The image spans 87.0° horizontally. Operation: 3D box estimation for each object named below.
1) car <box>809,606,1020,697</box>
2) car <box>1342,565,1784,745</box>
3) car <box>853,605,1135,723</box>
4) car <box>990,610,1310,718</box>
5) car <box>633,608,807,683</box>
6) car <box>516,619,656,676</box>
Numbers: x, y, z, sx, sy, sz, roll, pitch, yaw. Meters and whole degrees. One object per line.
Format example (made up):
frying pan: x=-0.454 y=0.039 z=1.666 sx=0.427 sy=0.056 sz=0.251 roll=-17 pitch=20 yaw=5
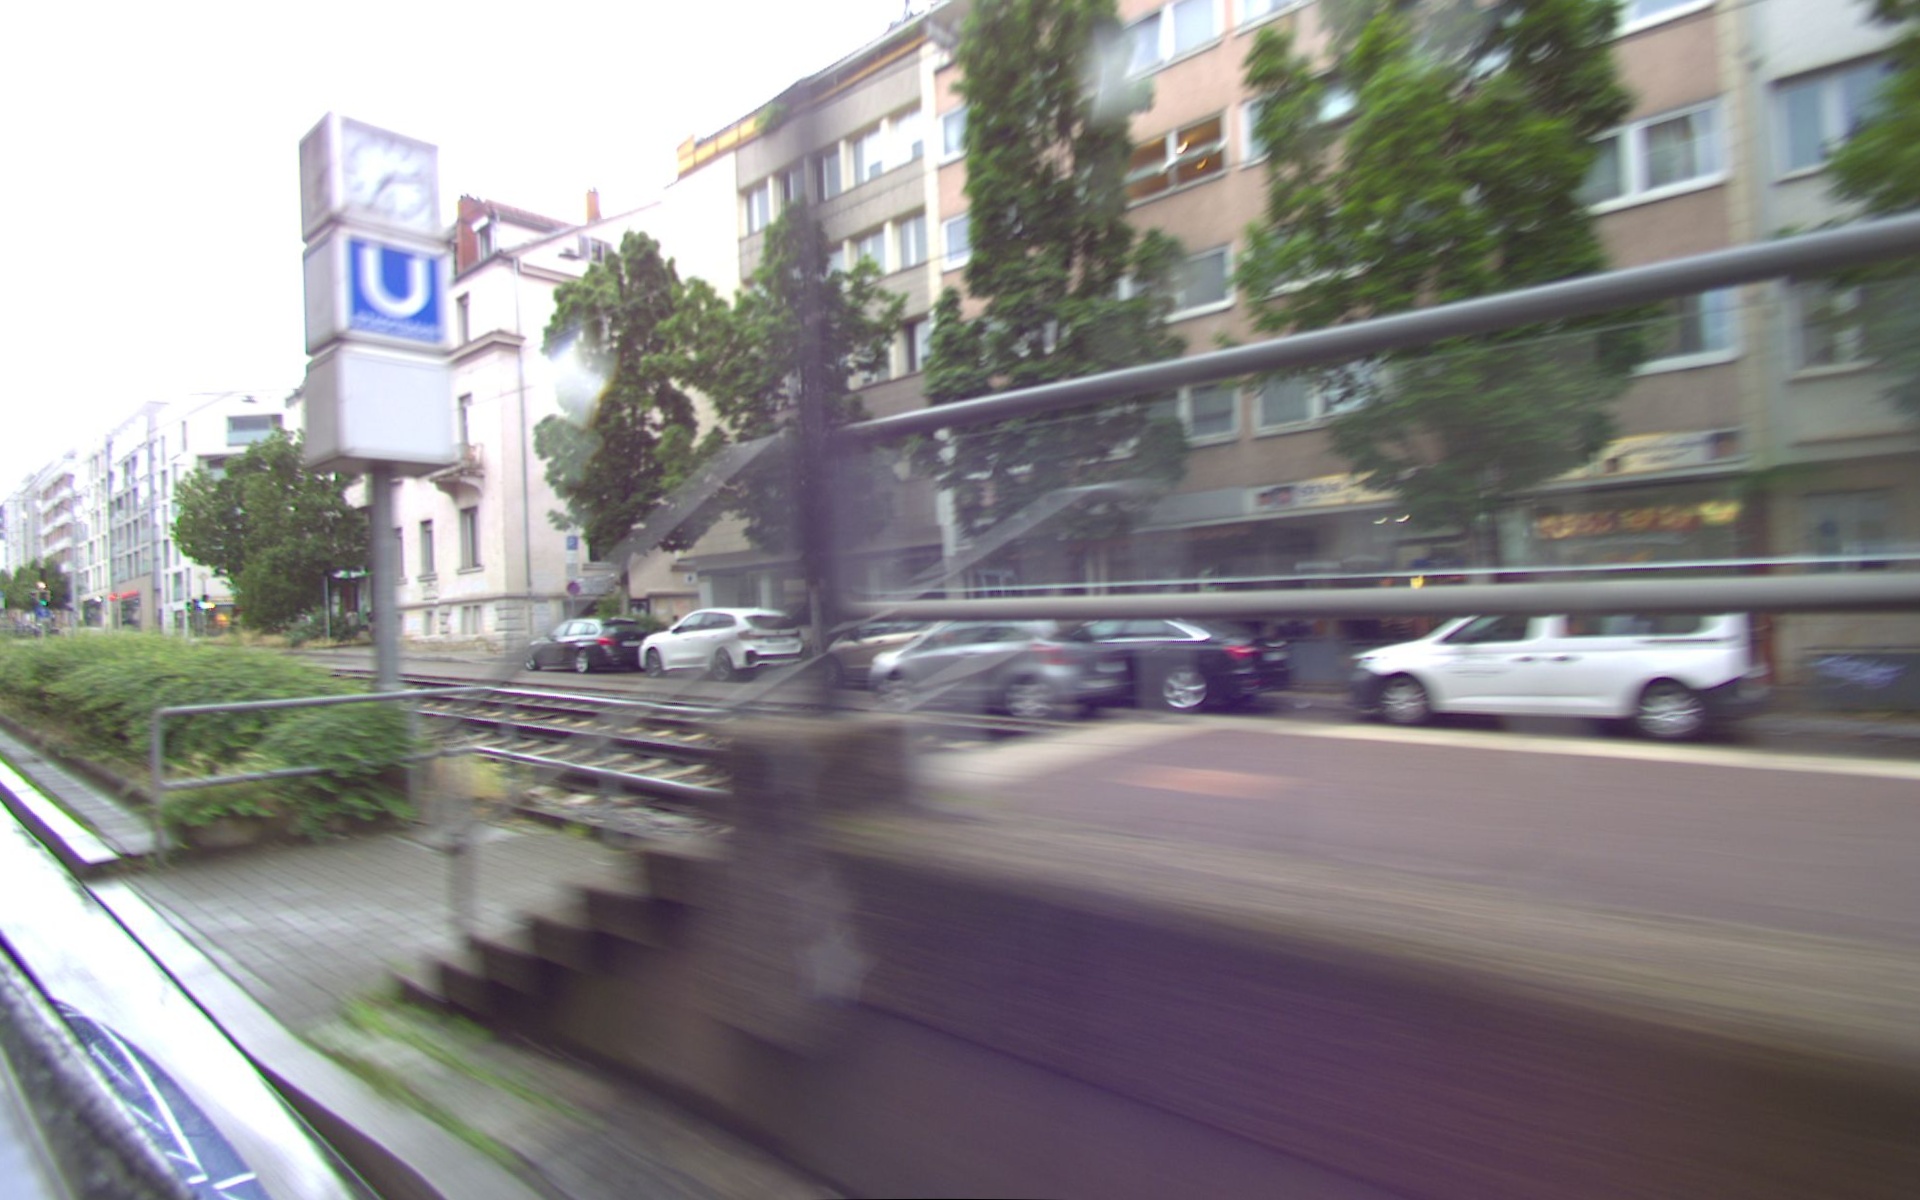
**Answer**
car: x=-0.949 y=0.909 z=19.243 sx=4.021 sy=1.549 sz=1.621 roll=-1 pitch=-1 yaw=41
car: x=7.191 y=0.594 z=12.360 sx=4.428 sy=1.831 sz=1.657 roll=-1 pitch=-1 yaw=40
car: x=0.387 y=0.835 z=14.629 sx=3.962 sy=1.473 sz=1.621 roll=-1 pitch=-1 yaw=42
car: x=2.821 y=0.899 z=15.785 sx=4.726 sy=1.451 sz=1.622 roll=-1 pitch=-1 yaw=40
car: x=-5.623 y=0.996 z=23.421 sx=4.334 sy=1.596 sz=1.641 roll=-1 pitch=-1 yaw=40
car: x=-10.133 y=1.228 z=27.274 sx=4.456 sy=1.386 sz=1.695 roll=-1 pitch=-1 yaw=42
